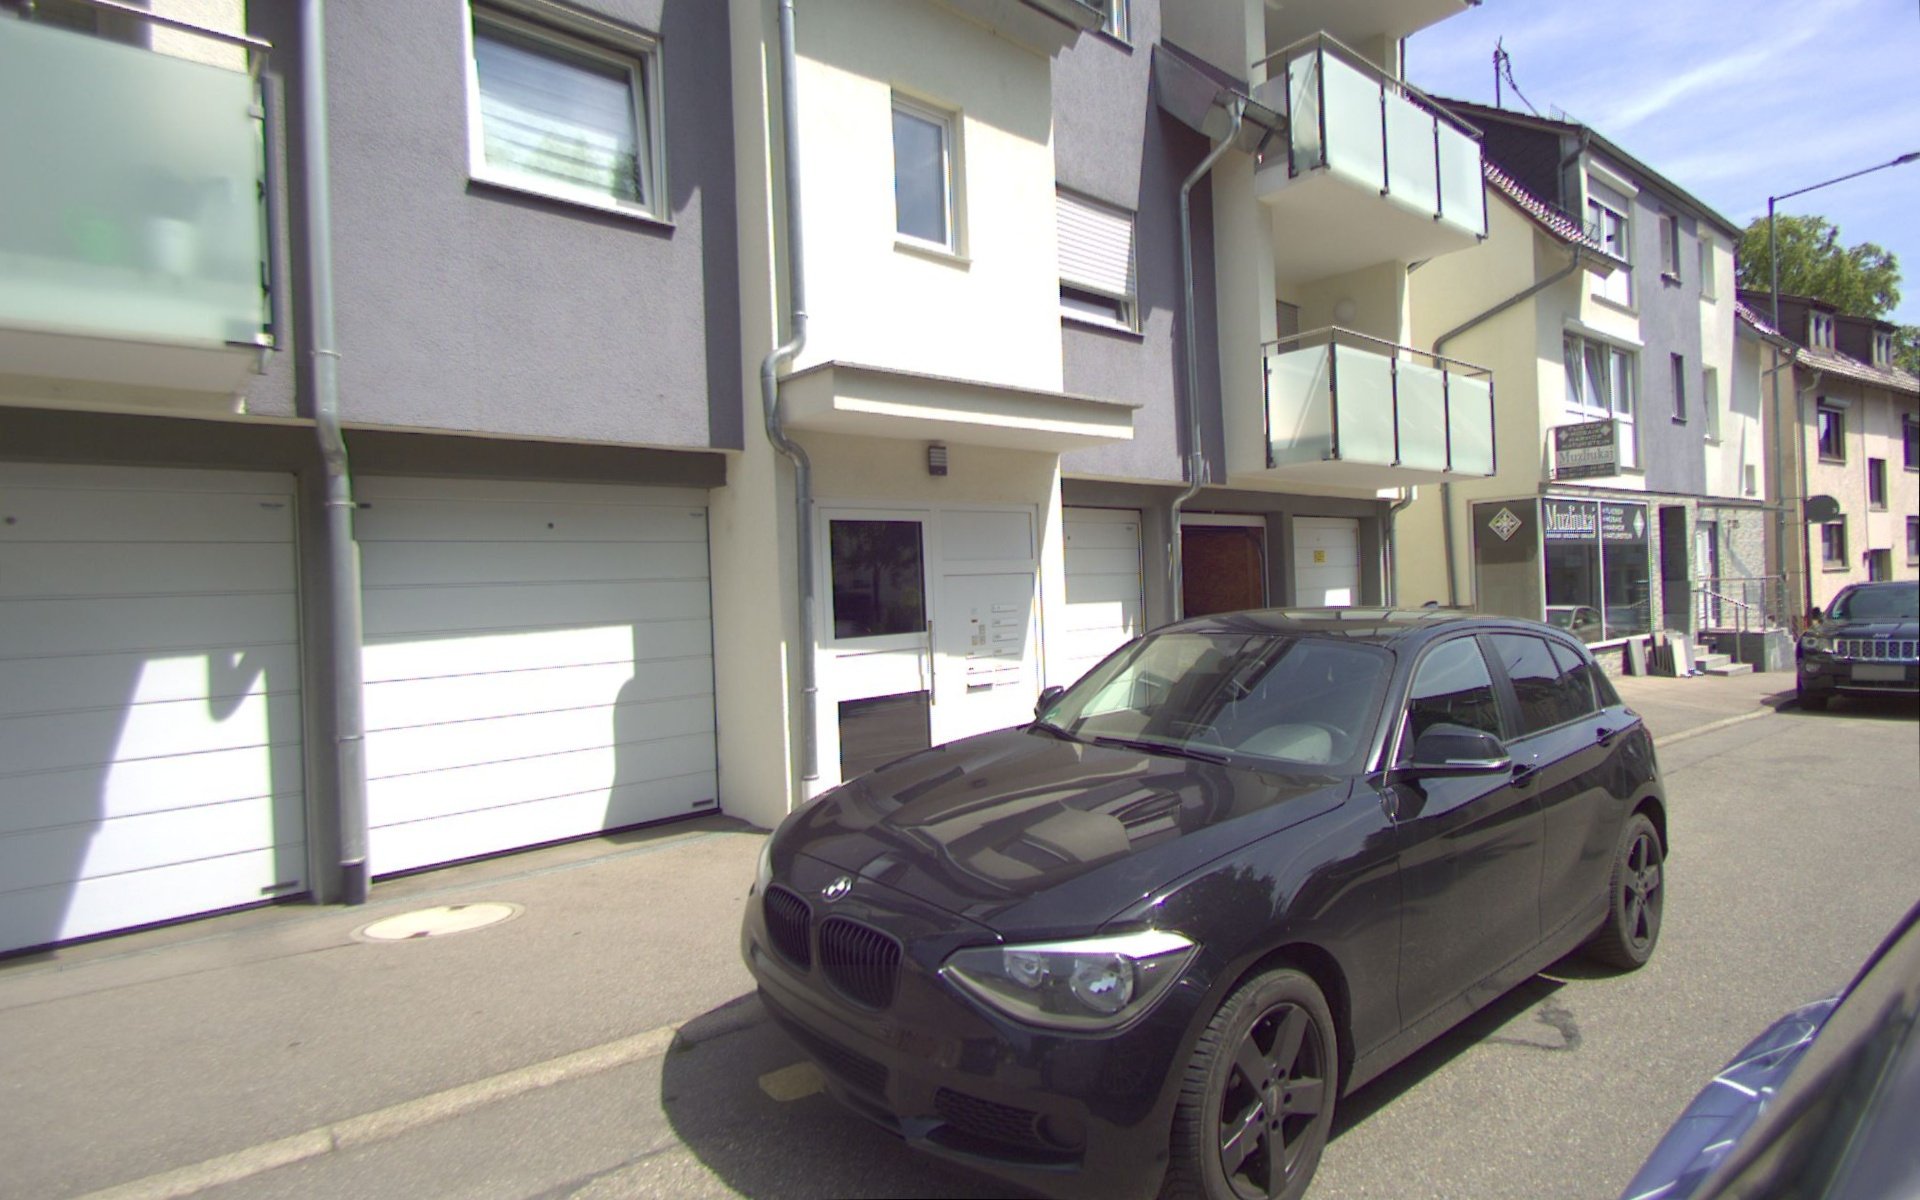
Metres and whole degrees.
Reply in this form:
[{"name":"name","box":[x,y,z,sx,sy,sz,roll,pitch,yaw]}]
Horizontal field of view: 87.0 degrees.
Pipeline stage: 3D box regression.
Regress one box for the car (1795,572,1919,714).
[{"name":"car","box":[13.404,0.512,14.058,4.633,1.738,1.957,-1,-1,-40]}]

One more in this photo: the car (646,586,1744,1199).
[{"name":"car","box":[1.220,0.697,3.782,4.213,1.442,1.801,-1,0,-39]}]

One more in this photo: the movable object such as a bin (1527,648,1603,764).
[{"name":"movable object such as a bin","box":[5.281,0.907,8.835,0.482,0.936,0.432,0,0,-40]}]

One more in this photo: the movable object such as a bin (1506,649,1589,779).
[{"name":"movable object such as a bin","box":[4.788,0.909,8.253,0.508,0.968,0.432,0,1,-40]}]

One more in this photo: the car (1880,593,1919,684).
[{"name":"car","box":[17.553,0.601,17.514,4.633,1.474,1.792,-1,-1,-40]}]
